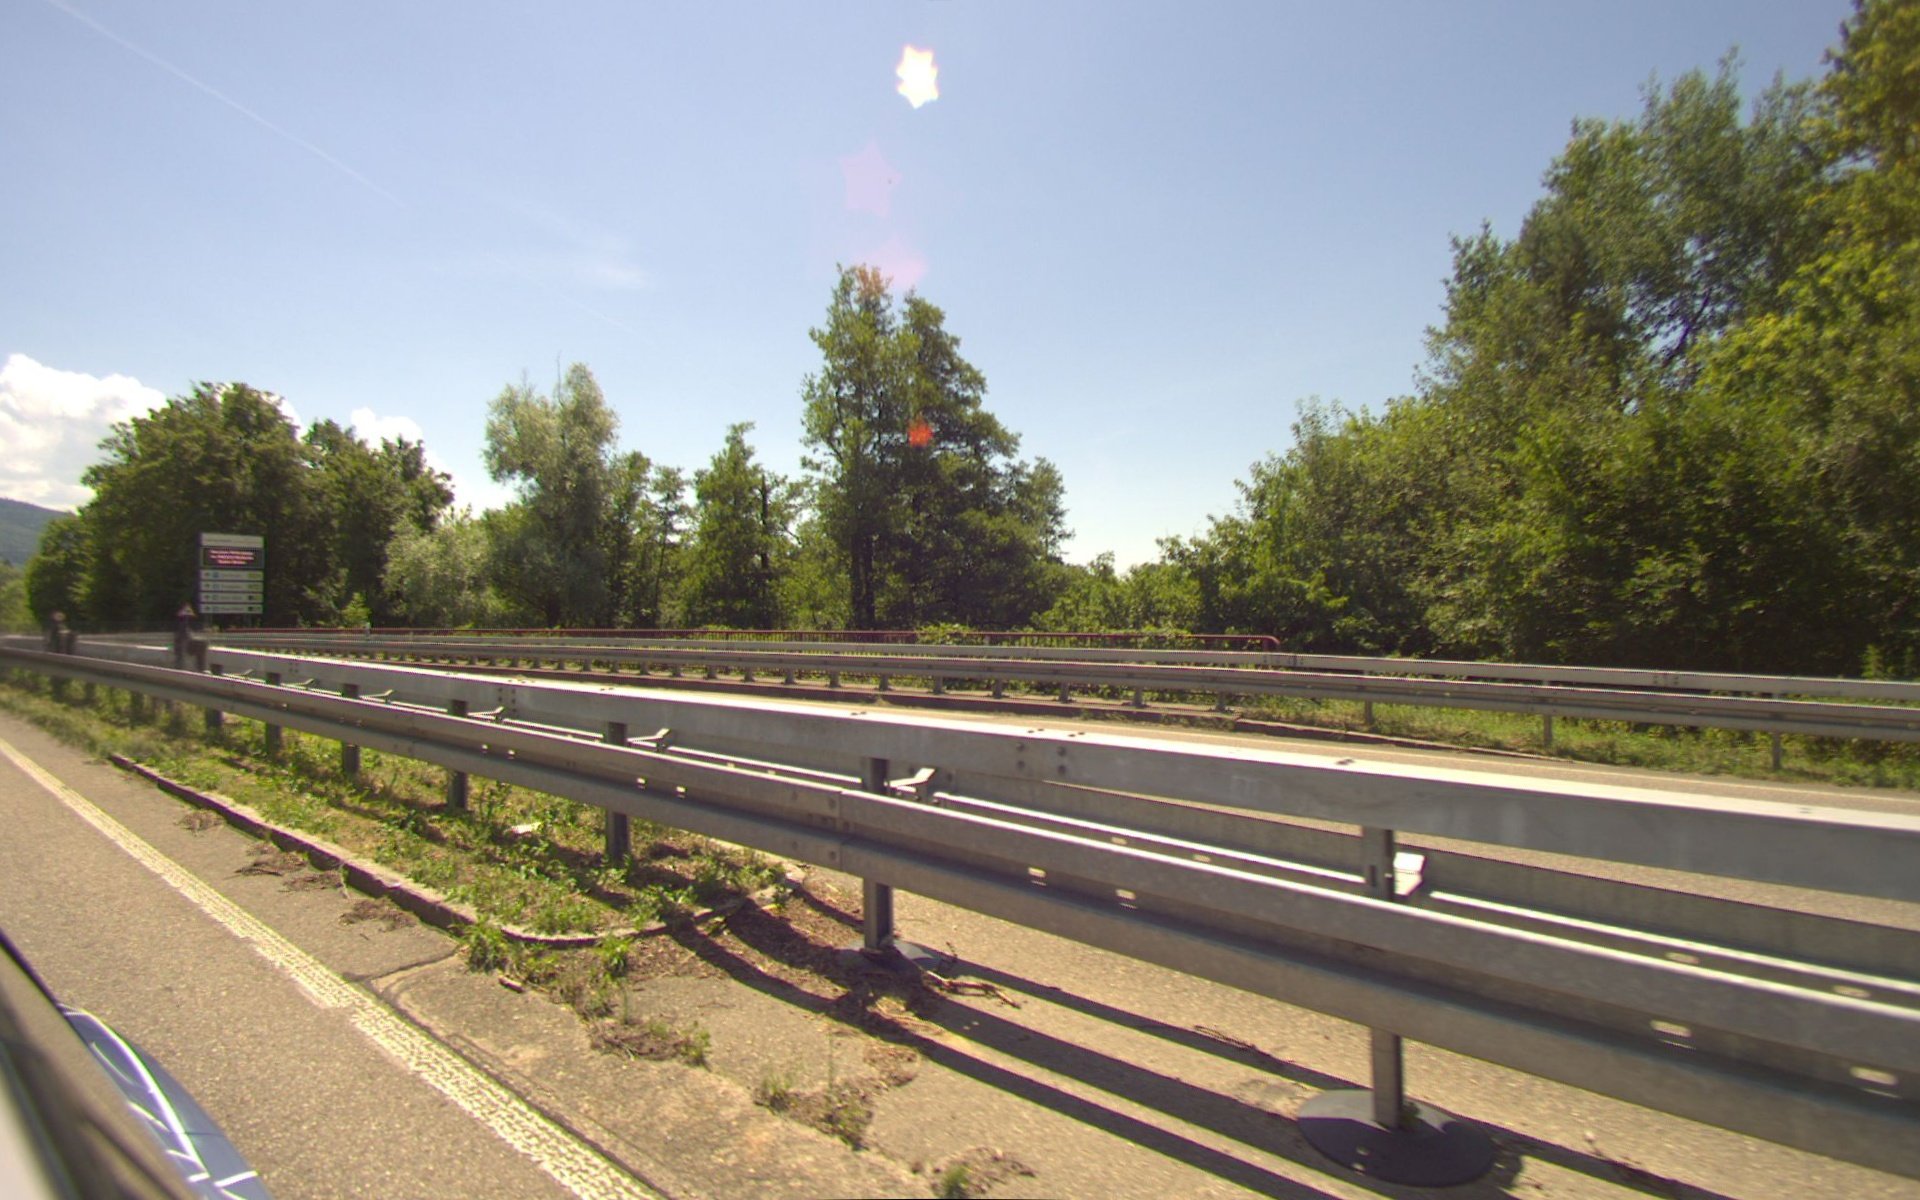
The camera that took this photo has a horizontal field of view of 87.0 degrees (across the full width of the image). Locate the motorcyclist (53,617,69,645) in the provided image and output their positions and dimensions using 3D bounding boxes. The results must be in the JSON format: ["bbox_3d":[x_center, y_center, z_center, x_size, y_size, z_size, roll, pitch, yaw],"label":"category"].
[{"bbox_3d":[-52.009,1.787,58.539,0.776,1.552,0.608,-1,-2,41],"label":"motorcyclist"}]

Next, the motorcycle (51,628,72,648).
[{"bbox_3d":[-51.764,2.168,58.299,2.312,1.112,0.608,-1,-2,42],"label":"motorcycle"}]

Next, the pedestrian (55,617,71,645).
[{"bbox_3d":[-51.515,1.778,58.101,0.494,1.552,0.608,-1,-2,41],"label":"pedestrian"}]
